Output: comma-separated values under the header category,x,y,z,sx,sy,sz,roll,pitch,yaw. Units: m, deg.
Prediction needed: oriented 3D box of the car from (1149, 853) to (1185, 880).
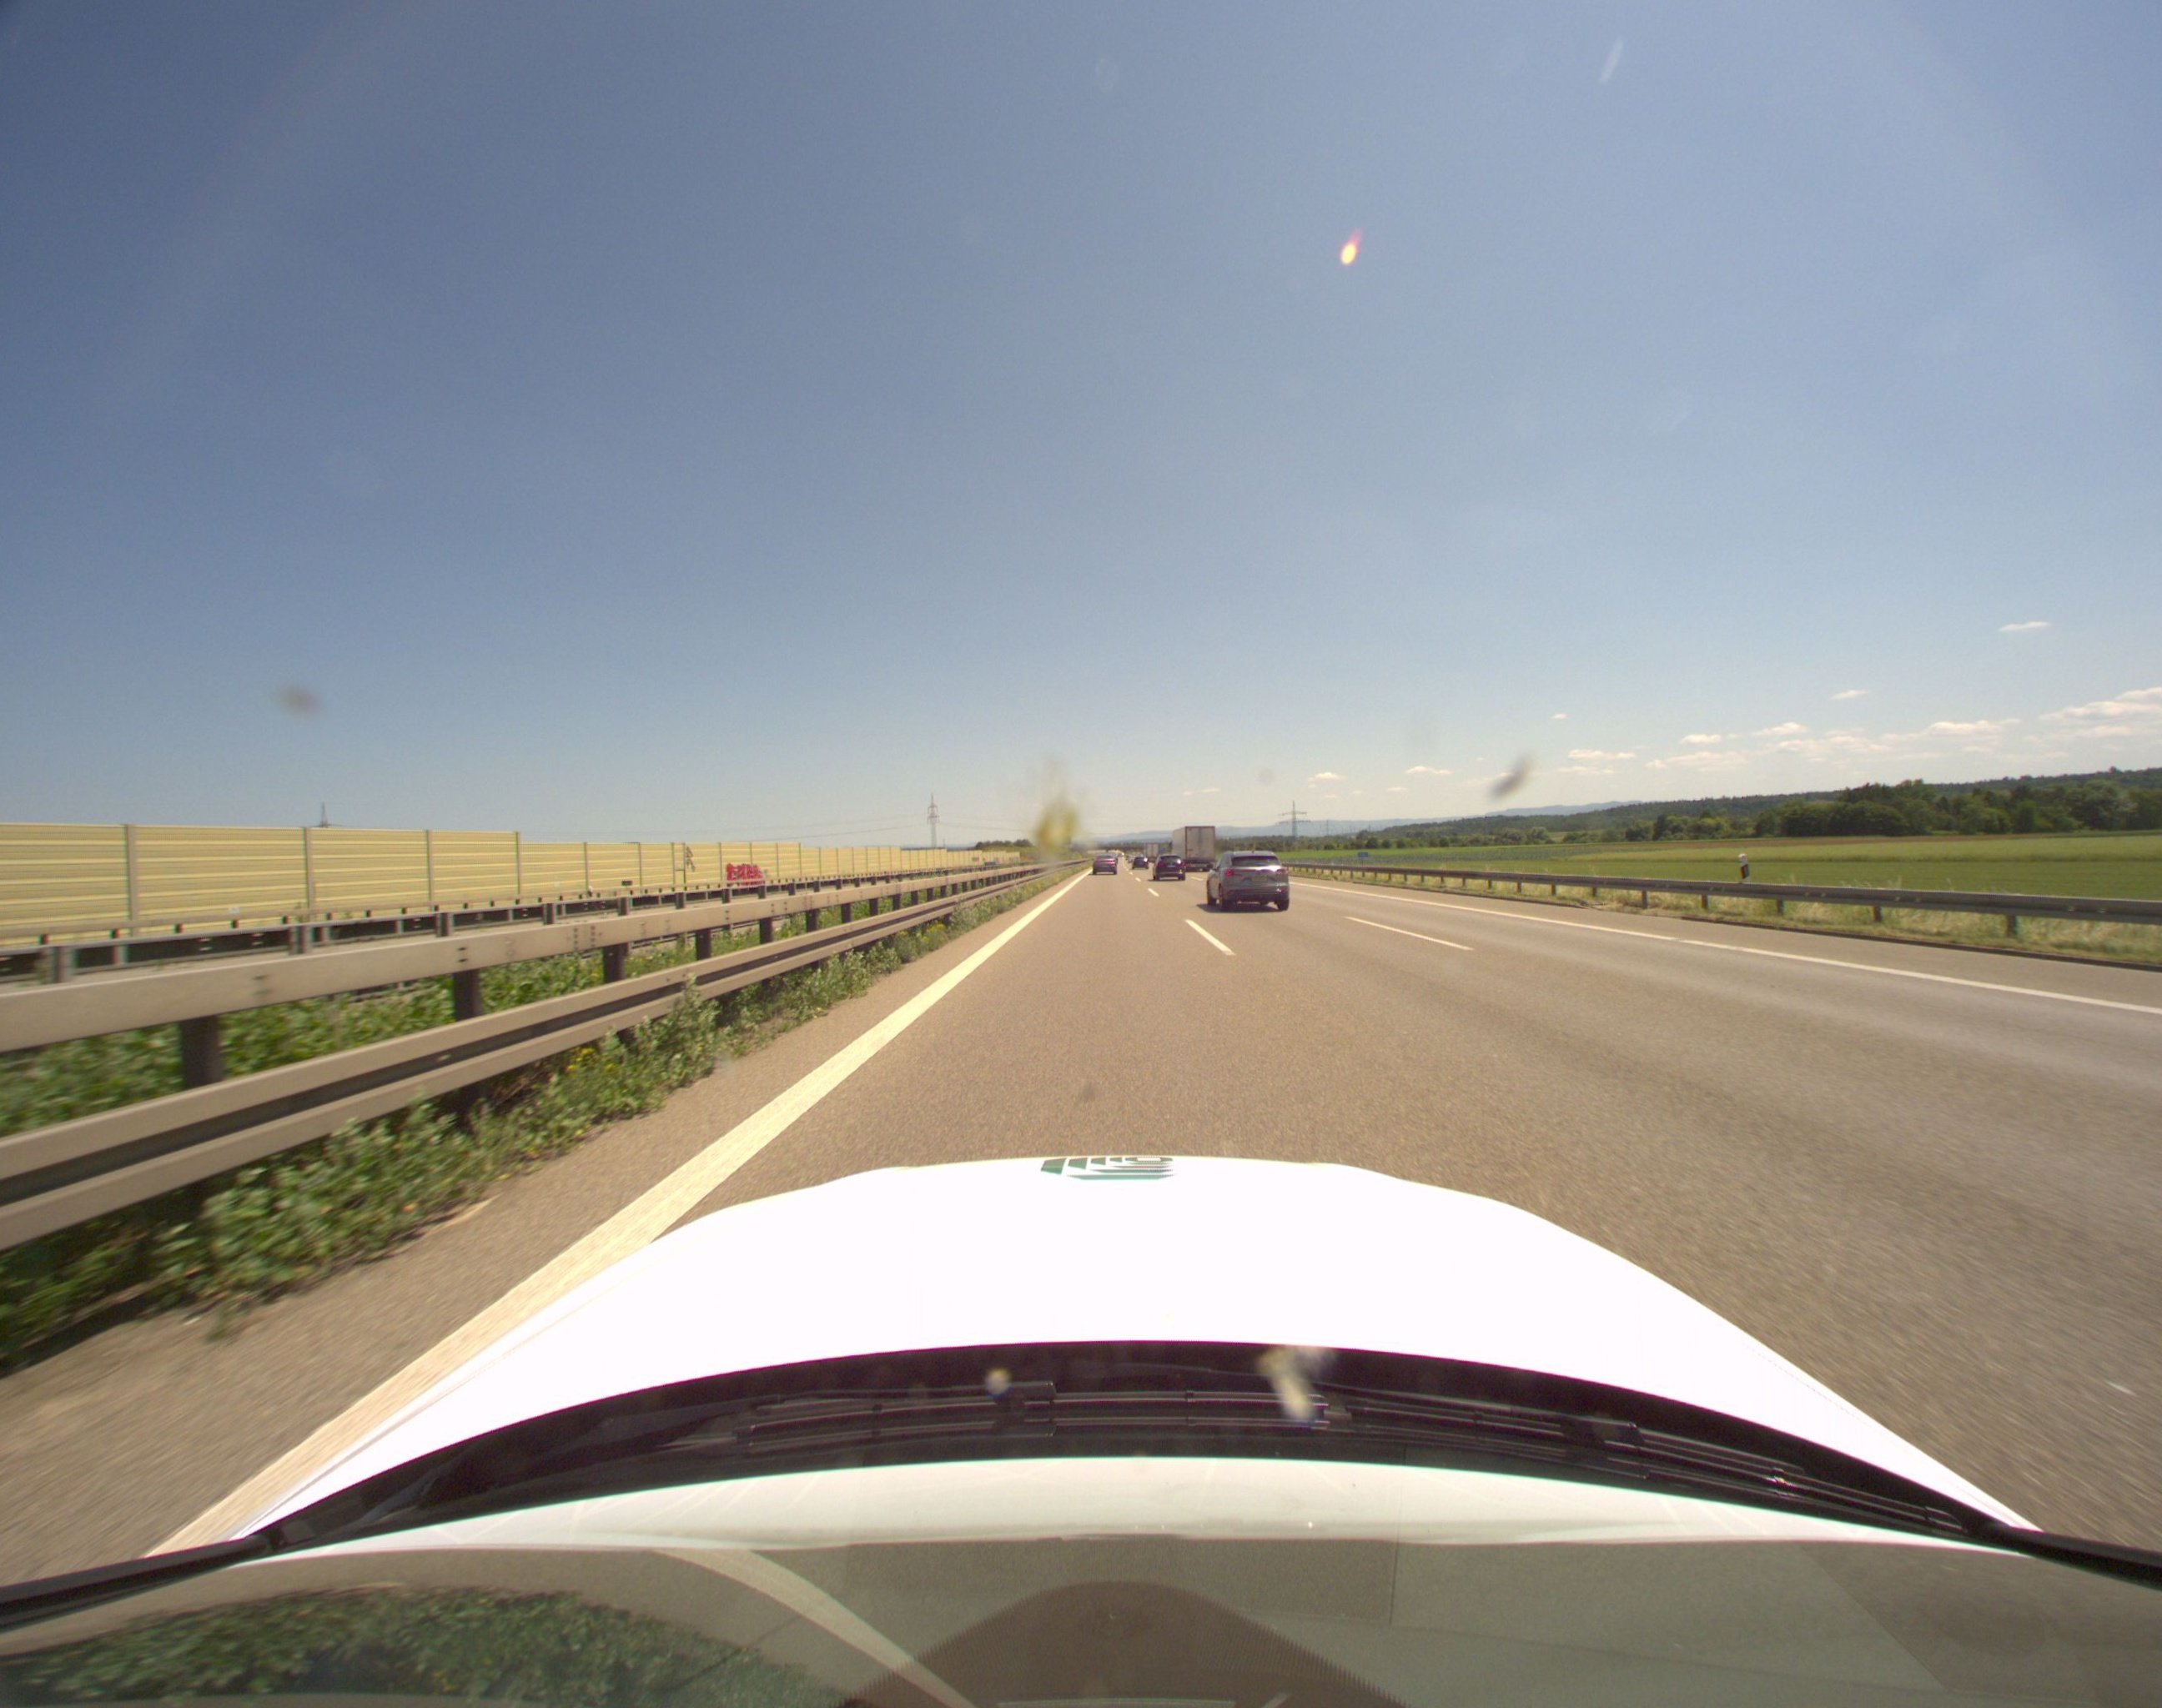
category,x,y,z,sx,sy,sz,roll,pitch,yaw
car,5.176,0.730,49.437,1.791,1.562,3.823,0,-1,0

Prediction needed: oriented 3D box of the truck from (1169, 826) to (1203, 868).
category,x,y,z,sx,sy,sz,roll,pitch,yaw
truck,10.834,-0.678,84.579,2.851,4.091,6.883,0,-1,2

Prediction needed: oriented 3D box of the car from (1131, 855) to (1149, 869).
category,x,y,z,sx,sy,sz,roll,pitch,yaw
car,6.565,0.890,90.695,1.925,1.574,4.938,0,-1,3

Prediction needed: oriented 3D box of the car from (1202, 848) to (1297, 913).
category,x,y,z,sx,sy,sz,roll,pitch,yaw
car,4.623,0.688,23.046,1.844,1.648,4.646,0,-1,1

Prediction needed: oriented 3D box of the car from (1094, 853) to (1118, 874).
category,x,y,z,sx,sy,sz,roll,pitch,yaw
car,1.993,0.751,66.198,1.845,1.664,3.735,0,-1,0

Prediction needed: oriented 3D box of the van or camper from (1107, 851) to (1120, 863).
category,x,y,z,sx,sy,sz,roll,pitch,yaw
van or camper,6.030,0.544,150.487,2.102,2.211,5.270,0,-1,3

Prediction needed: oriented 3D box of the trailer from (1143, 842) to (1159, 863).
category,x,y,z,sx,sy,sz,roll,pitch,yaw
trailer,14.664,-0.300,170.655,2.930,4.198,13.608,0,0,3

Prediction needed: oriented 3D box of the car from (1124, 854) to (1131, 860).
category,x,y,z,sx,sy,sz,roll,pitch,yaw
car,13.529,0.822,236.868,1.985,1.683,4.003,0,-1,3

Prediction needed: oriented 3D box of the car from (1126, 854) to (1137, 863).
category,x,y,z,sx,sy,sz,roll,pitch,yaw
car,9.622,0.900,154.929,1.985,1.683,4.003,0,-1,3

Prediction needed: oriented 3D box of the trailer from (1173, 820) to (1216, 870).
category,x,y,z,sx,sy,sz,roll,pitch,yaw
trailer,10.456,-0.723,76.448,2.856,4.220,13.303,0,0,3
